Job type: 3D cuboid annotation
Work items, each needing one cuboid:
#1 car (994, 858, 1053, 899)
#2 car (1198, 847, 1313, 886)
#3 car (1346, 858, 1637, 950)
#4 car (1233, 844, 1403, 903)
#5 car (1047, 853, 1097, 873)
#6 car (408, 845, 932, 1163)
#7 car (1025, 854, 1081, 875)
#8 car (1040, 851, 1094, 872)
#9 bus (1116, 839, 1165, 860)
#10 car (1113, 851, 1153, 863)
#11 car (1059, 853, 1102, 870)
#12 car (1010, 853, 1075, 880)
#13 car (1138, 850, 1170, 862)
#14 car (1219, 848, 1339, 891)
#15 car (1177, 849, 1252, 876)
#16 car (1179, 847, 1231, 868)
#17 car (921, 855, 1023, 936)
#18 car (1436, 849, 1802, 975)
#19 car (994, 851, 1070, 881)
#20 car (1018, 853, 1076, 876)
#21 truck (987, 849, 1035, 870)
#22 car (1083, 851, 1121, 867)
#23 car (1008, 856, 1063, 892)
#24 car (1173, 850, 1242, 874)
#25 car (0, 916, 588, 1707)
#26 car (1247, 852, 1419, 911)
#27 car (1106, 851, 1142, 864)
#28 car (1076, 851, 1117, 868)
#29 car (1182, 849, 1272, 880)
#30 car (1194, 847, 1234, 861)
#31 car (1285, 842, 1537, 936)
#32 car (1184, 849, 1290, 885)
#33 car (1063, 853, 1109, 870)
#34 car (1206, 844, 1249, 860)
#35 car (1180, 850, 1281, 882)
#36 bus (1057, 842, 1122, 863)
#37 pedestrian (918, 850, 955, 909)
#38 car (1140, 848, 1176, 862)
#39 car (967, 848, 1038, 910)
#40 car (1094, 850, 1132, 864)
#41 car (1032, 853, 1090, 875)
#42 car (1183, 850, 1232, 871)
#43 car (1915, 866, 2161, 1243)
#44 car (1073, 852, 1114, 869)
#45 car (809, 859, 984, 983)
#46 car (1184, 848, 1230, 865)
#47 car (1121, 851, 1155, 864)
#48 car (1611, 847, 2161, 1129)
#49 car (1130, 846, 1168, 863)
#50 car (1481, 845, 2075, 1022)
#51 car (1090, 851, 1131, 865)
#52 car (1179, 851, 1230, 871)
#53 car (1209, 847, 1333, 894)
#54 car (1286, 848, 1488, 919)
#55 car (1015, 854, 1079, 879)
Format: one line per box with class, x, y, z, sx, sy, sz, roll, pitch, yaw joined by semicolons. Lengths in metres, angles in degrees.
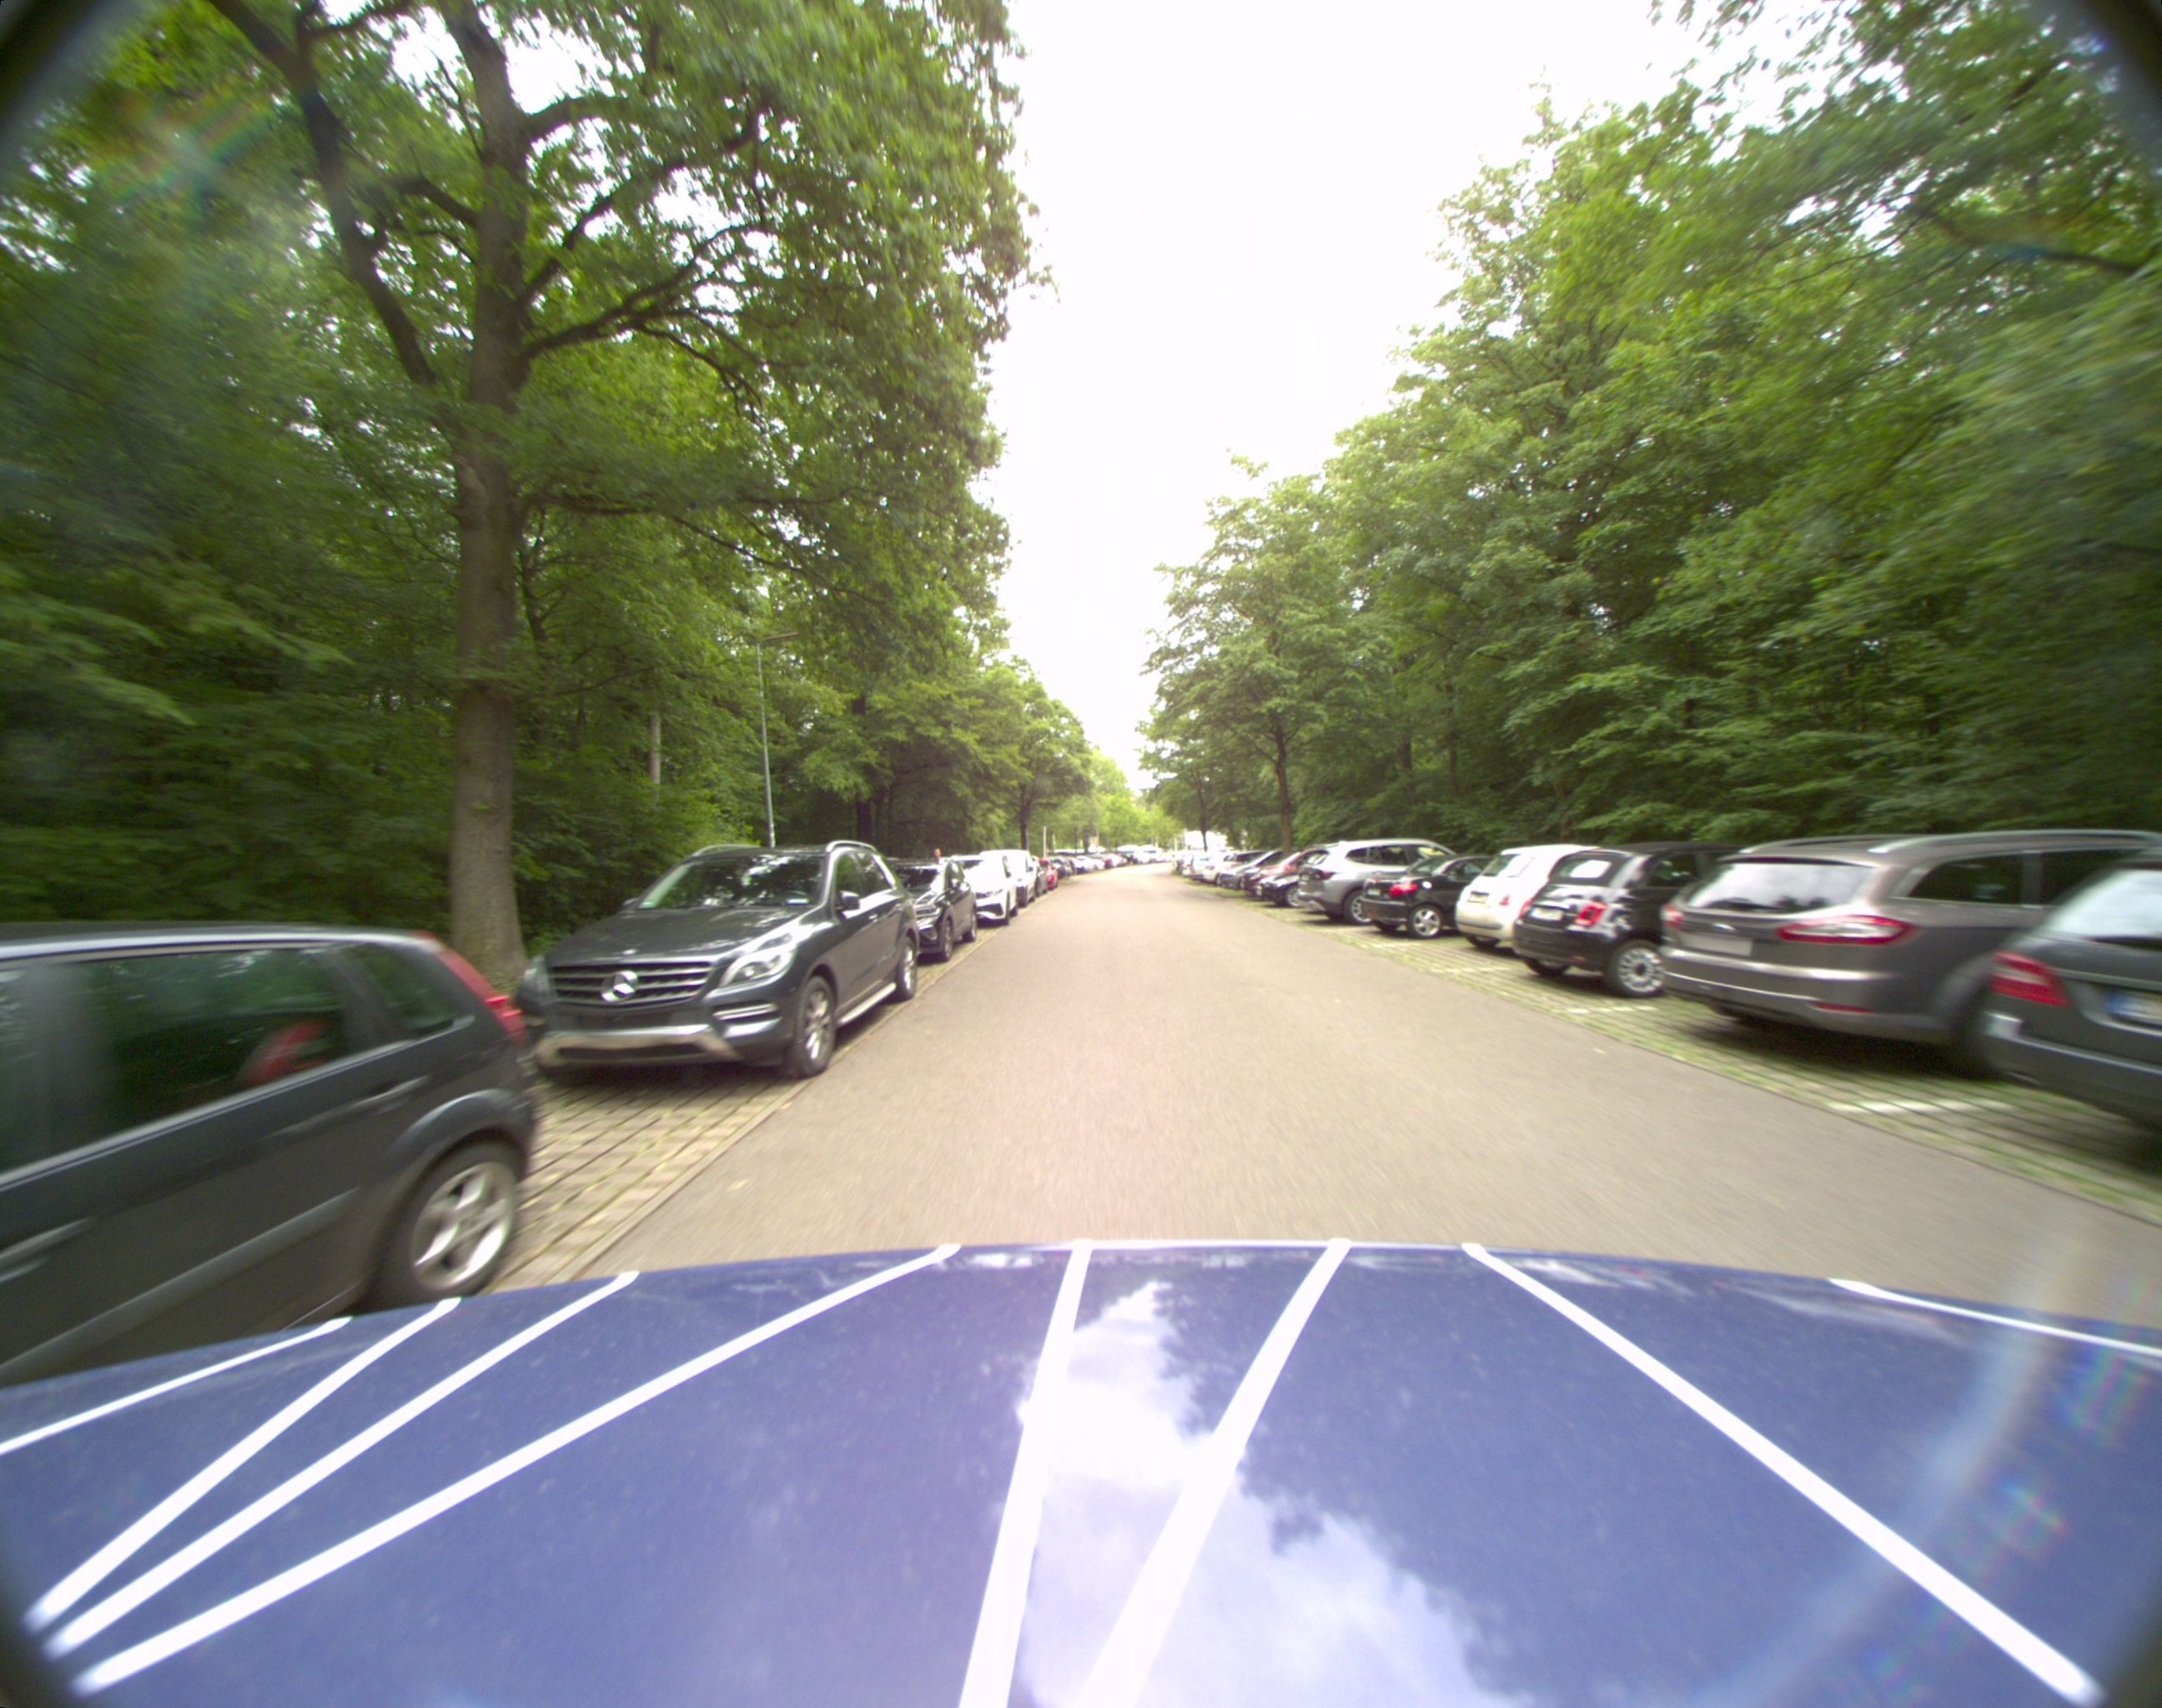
car;-2.192;0.906;30.030;1.729;1.414;4.284;-2;0;3
car;7.539;0.536;33.159;4.573;1.477;1.941;-2;1;1
car;6.878;0.809;13.048;3.989;1.302;1.810;-2;0;-1
car;7.094;0.558;23.087;4.526;1.575;1.927;-2;0;1
car;-0.733;0.746;63.787;3.985;1.475;1.885;-2;0;5
car;-2.815;0.849;6.784;1.894;1.737;4.948;-2;0;0
car;-2.061;0.761;56.163;3.834;1.449;1.809;-1;1;7
car;-1.135;0.599;61.277;4.016;1.550;1.979;-2;0;10
bus;9.998;-0.729;128.580;7.755;3.139;2.811;-2;-2;-7
car;6.564;0.384;95.951;4.777;1.467;1.855;-2;-1;20
car;-0.052;0.680;68.502;3.803;1.432;1.871;-2;0;1
car;-2.434;0.810;48.555;3.997;1.542;1.975;-2;0;-1
car;10.126;0.275;105.423;4.000;1.546;1.950;-4;-1;27
car;7.891;0.614;30.504;4.246;1.541;1.847;-2;0;-3
car;7.961;0.507;45.522;4.274;1.477;2.058;-2;0;6
car;10.203;0.319;62.291;3.965;1.618;2.000;-1;0;17
car;-2.501;0.883;18.498;1.790;1.653;4.717;-2;0;-1
car;7.272;0.741;10.541;3.875;1.442;1.660;-2;0;-1
car;-2.890;0.717;45.838;4.275;1.656;1.959;-2;0;5
car;-2.383;0.709;53.944;3.835;1.522;1.851;-1;1;6
truck;-12.695;0.971;138.123;8.232;3.493;2.872;-2;-1;15
car;2.258;0.518;81.229;3.707;1.502;1.753;-2;1;13
car;-2.066;0.886;35.667;1.998;1.470;4.972;-2;0;3
car;8.363;0.501;50.528;4.413;1.416;2.036;-2;0;7
car;-3.041;1.054;1.339;1.603;1.495;4.090;-2;0;0
car;6.661;0.696;20.415;3.997;1.356;1.786;-2;0;0
car;5.155;0.418;90.926;3.992;1.474;1.924;-2;0;17
car;1.544;0.573;76.652;3.774;1.580;1.951;-2;0;12
car;7.704;0.562;40.421;4.376;1.477;1.891;-2;1;0
car;15.608;-0.006;89.100;4.360;1.588;2.033;-1;1;18
car;6.572;0.666;15.539;4.235;1.623;2.029;-2;0;2
car;7.202;0.589;35.387;4.573;1.477;1.870;-2;0;3
car;0.483;0.690;71.182;3.939;1.402;1.879;-2;0;10
car;18.965;-0.248;98.176;5.091;1.904;1.981;-1;0;22
car;7.366;0.575;37.728;4.574;1.439;2.085;-2;0;-1
bus;1.427;-0.225;127.006;10.516;3.139;2.811;-2;-2;-7
pedestrian;-4.366;0.750;23.069;0.819;1.716;1.004;-2;1;2
car;10.940;0.151;107.799;4.523;1.683;2.169;-2;1;26
car;-2.448;0.736;24.708;1.749;1.770;4.552;-2;0;0
car;3.623;0.312;86.103;3.993;1.441;1.943;-2;0;13
car;-1.508;0.760;58.767;4.196;1.503;1.894;-2;0;5
car;9.155;0.446;55.295;3.471;1.472;1.684;-1;1;7
car;6.413;0.777;2.976;4.120;1.471;1.996;-2;0;-1
car;1.240;0.657;73.478;3.775;1.472;1.775;-2;0;8
car;-2.815;0.930;12.645;1.755;1.598;4.446;-2;0;0
car;11.976;0.237;72.158;4.240;1.524;1.764;-1;0;10
car;7.392;0.441;98.220;3.992;1.475;1.879;-4;1;19
car;6.499;0.768;5.427;4.100;1.515;1.929;-2;0;-2
car;9.198;0.080;102.866;4.654;2.008;2.087;-4;-2;21
car;6.898;0.740;7.939;4.411;1.480;1.837;-2;0;2
car;3.257;0.443;83.221;4.132;1.453;1.867;-2;1;15
car;9.369;0.500;57.680;3.733;1.411;1.873;-1;0;8
car;6.945;0.591;28.081;4.044;1.546;1.919;-2;0;0
car;7.108;0.661;17.975;4.032;1.456;1.799;-2;0;3
car;-2.239;0.825;51.190;3.995;1.466;1.953;-2;0;6
